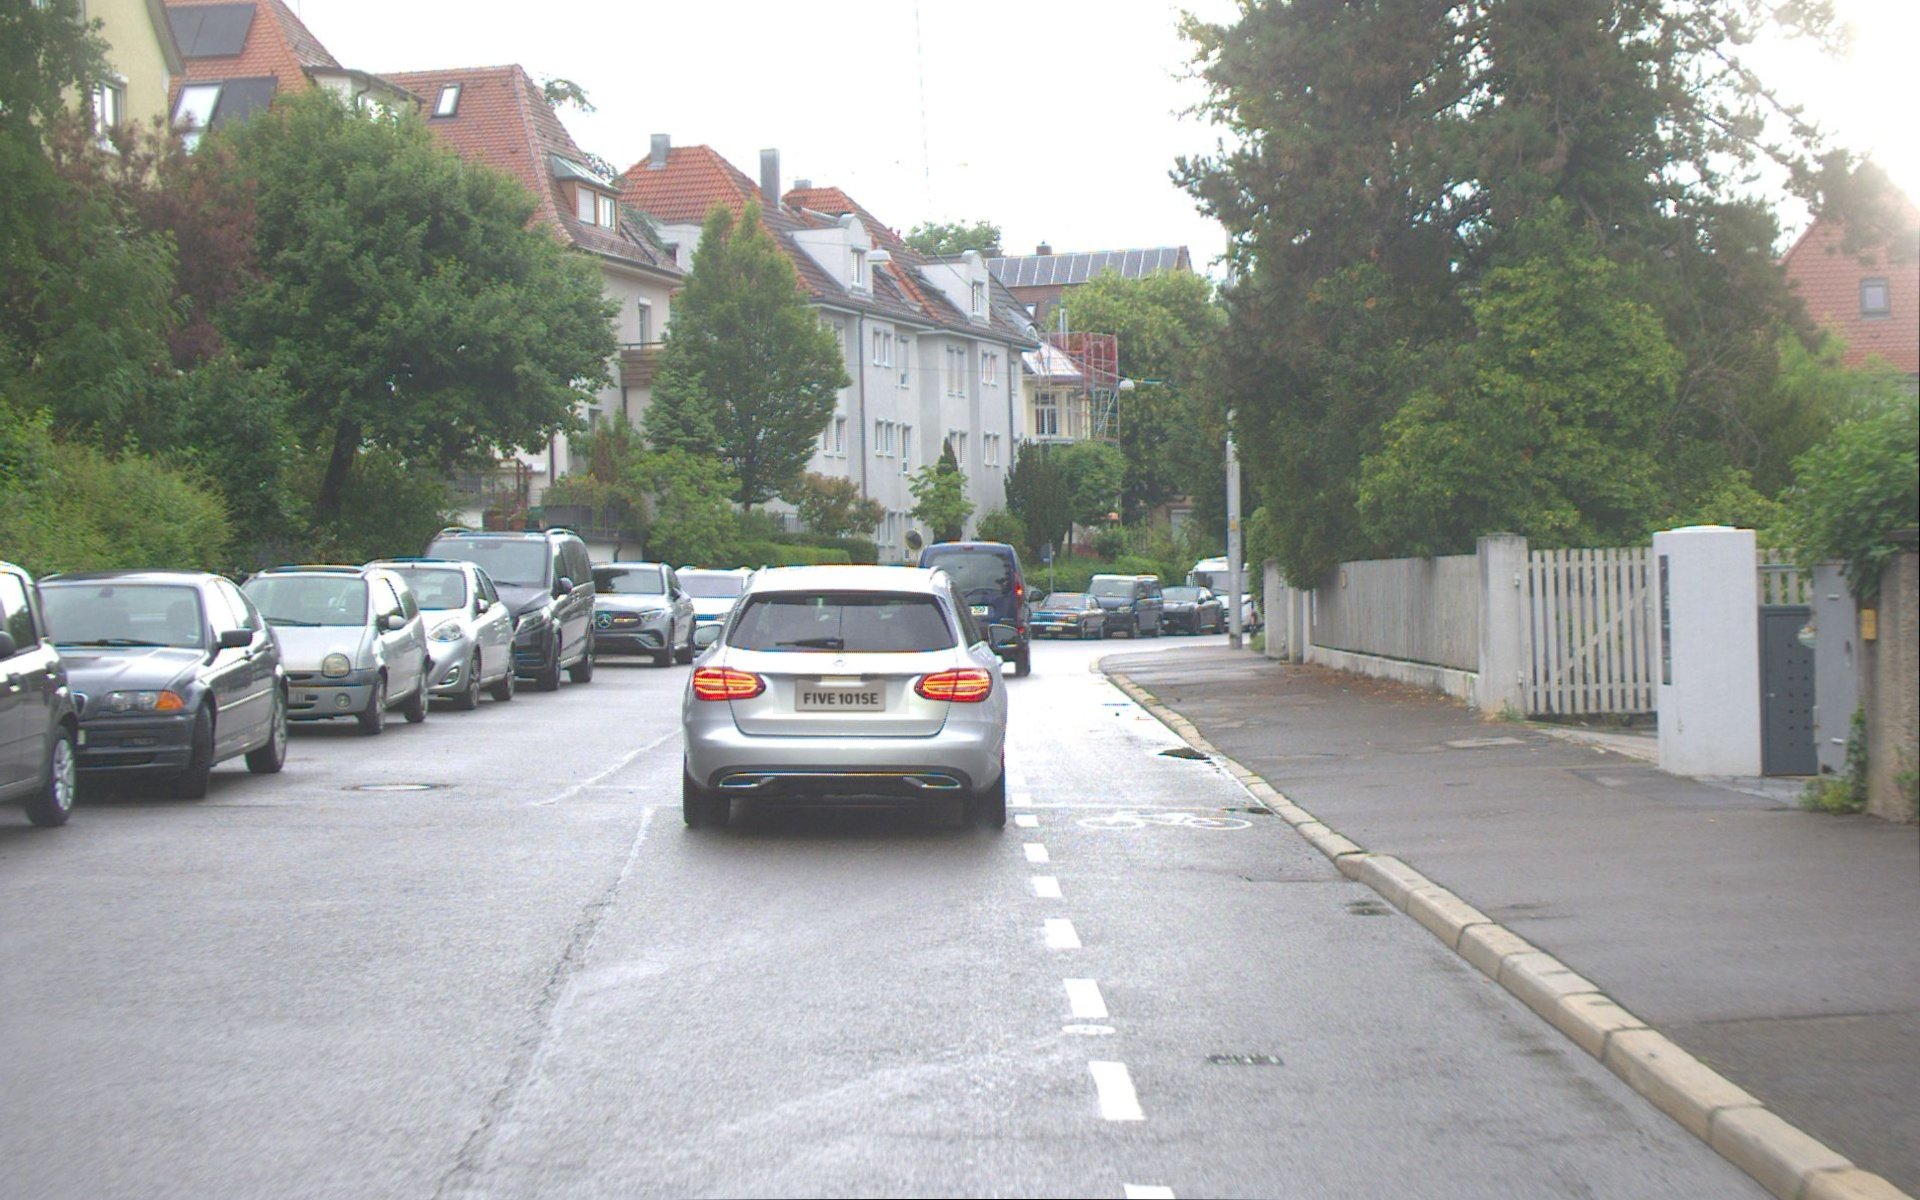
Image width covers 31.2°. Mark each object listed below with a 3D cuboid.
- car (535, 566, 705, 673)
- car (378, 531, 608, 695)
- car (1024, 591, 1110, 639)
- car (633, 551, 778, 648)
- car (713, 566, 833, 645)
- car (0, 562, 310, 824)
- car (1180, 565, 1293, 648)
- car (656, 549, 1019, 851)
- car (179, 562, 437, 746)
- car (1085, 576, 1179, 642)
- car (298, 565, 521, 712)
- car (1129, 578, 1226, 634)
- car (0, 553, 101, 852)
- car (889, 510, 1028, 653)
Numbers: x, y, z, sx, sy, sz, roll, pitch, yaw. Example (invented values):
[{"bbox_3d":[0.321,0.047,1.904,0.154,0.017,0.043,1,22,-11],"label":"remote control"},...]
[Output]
[{"bbox_3d":[-5.372,0.276,54.872,1.994,1.575,4.761,2,1,3],"label":"car"},{"bbox_3d":[-5.654,0.121,42.284,1.993,1.872,5.356,1,1,1],"label":"car"},{"bbox_3d":[3.297,0.445,105.329,1.644,1.412,4.609,0,0,14],"label":"car"},{"bbox_3d":[-4.762,-0.035,65.065,1.994,1.696,4.738,2,1,4],"label":"car"},{"bbox_3d":[-3.972,0.099,73.577,1.792,1.575,4.137,2,1,7],"label":"car"},{"bbox_3d":[-5.572,0.532,22.752,1.756,1.442,4.417,0,2,-1],"label":"car"},{"bbox_3d":[10.047,0.188,124.301,2.393,2.762,6.525,1,2,20],"label":"car"},{"bbox_3d":[-0.605,0.496,19.876,1.816,1.551,4.000,0,1,2],"label":"car"},{"bbox_3d":[-5.758,0.433,30.719,1.646,1.442,3.628,0,2,-1],"label":"car"},{"bbox_3d":[5.582,0.287,110.939,1.831,2.049,5.005,0,0,17],"label":"car"},{"bbox_3d":[-5.697,0.374,35.951,1.694,1.442,3.814,0,0,0],"label":"car"},{"bbox_3d":[7.434,0.185,117.006,1.996,1.682,4.672,1,2,21],"label":"car"},{"bbox_3d":[-5.793,0.523,17.966,1.696,1.536,3.814,0,1,-1],"label":"car"},{"bbox_3d":[0.022,-0.243,48.083,1.843,1.897,4.000,0,0,1],"label":"car"}]
